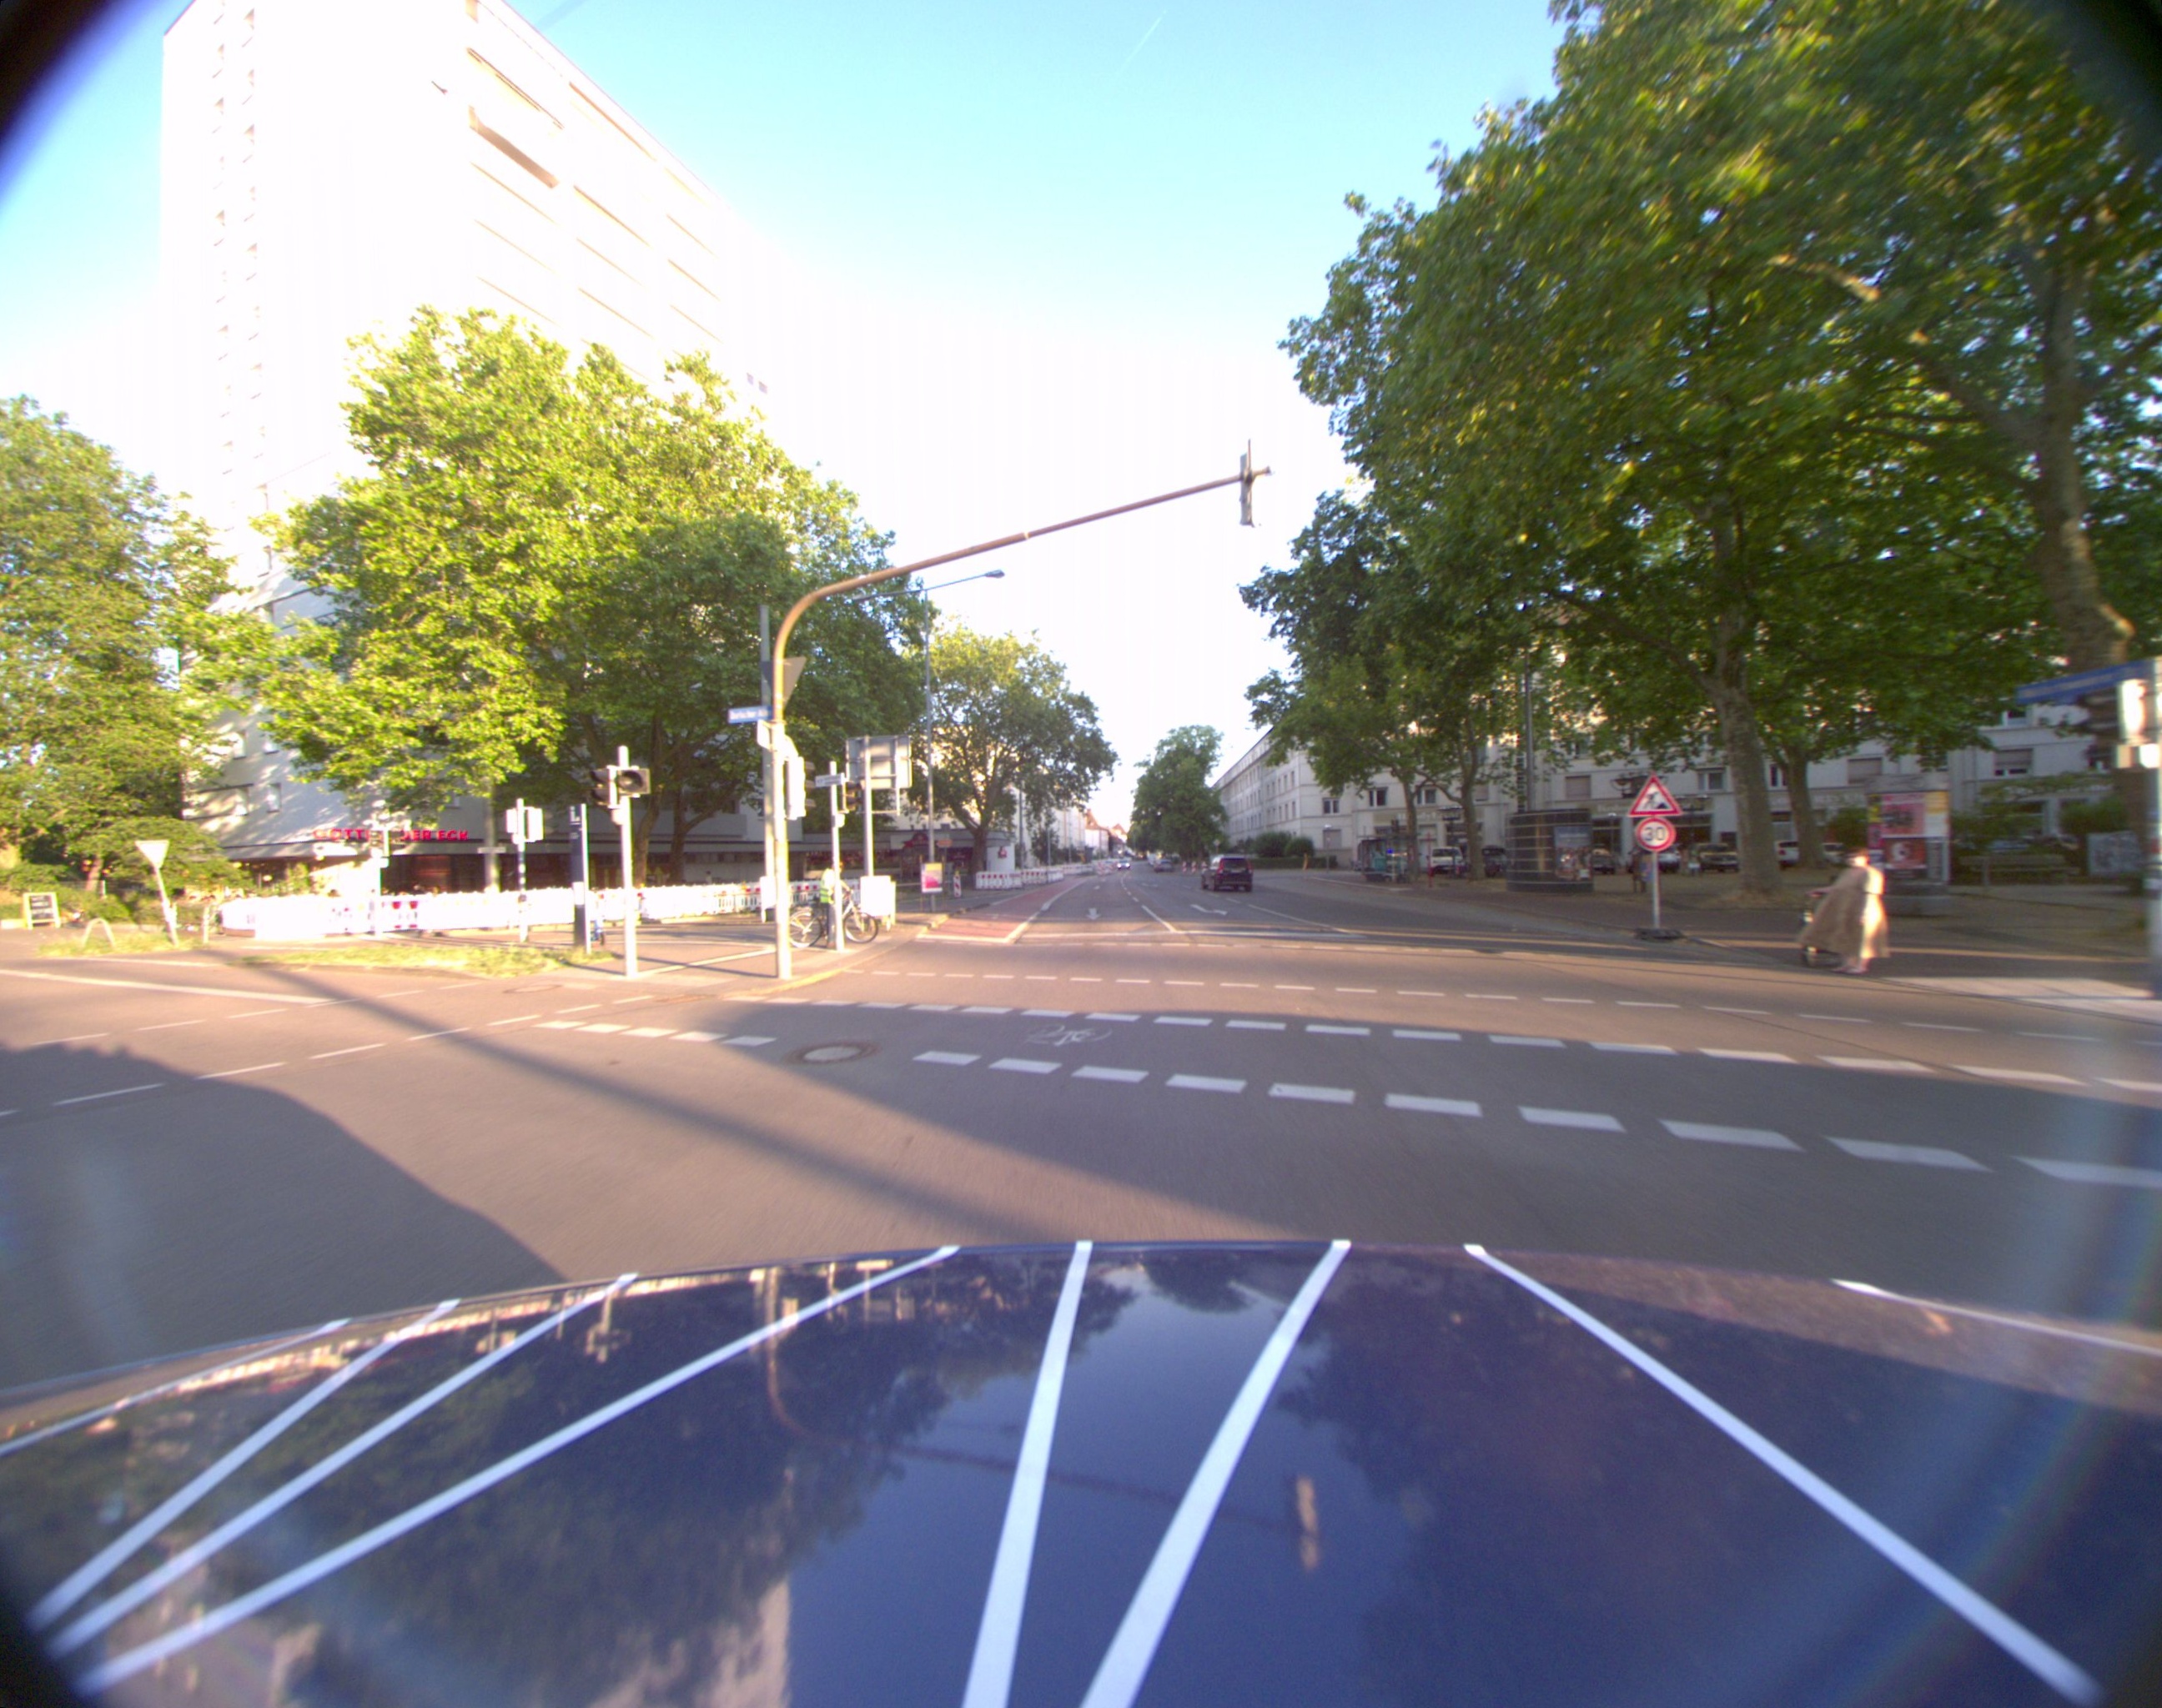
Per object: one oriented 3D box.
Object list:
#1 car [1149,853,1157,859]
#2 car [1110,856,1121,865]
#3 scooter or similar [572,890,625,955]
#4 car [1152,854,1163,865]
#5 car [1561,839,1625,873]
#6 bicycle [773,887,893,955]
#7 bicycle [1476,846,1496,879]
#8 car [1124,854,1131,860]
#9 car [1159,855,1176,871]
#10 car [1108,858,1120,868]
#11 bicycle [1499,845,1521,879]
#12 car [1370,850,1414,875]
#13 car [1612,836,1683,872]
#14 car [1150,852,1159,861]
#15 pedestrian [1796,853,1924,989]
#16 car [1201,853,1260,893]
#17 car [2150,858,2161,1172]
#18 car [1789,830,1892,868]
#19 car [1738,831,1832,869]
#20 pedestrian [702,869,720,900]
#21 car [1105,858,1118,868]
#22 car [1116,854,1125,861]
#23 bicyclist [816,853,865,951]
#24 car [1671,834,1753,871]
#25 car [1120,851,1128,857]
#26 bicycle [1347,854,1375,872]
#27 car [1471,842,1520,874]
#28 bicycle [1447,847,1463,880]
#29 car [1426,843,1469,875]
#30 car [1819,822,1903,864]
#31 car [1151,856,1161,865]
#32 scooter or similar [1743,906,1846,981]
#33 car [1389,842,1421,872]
[{"bbox_3d":[18.770,0.535,198.042,1.892,1.591,4.261,-3,1,7],"label":"car"},{"bbox_3d":[7.034,1.361,153.926,1.892,1.651,4.261,-3,1,7],"label":"car"},{"bbox_3d":[-9.795,1.367,15.416,1.231,1.242,0.516,-2,1,42],"label":"scooter or similar"},{"bbox_3d":[14.074,1.034,140.139,1.892,1.855,4.261,-3,1,7],"label":"car"},{"bbox_3d":[28.240,0.128,42.060,1.995,1.771,4.649,-1,-1,22],"label":"car"},{"bbox_3d":[-4.793,1.260,14.768,2.075,1.103,0.627,-3,1,-30],"label":"bicycle"},{"bbox_3d":[21.358,0.410,40.069,0.808,1.605,2.749,-2,1,27],"label":"bicycle"},{"bbox_3d":[14.605,0.924,237.664,1.892,1.591,4.261,-3,1,7],"label":"car"},{"bbox_3d":[9.821,0.968,86.222,1.892,1.591,4.001,-3,1,7],"label":"car"},{"bbox_3d":[6.321,1.756,145.398,1.892,1.726,4.261,-3,1,7],"label":"car"},{"bbox_3d":[22.367,0.393,39.663,0.808,1.605,2.749,-2,1,27],"label":"bicycle"},{"bbox_3d":[18.965,0.535,46.492,1.996,1.494,4.647,0,-1,16],"label":"car"},{"bbox_3d":[30.378,0.044,40.899,1.995,1.771,4.649,-1,-1,22],"label":"car"},{"bbox_3d":[16.862,0.611,174.042,1.892,1.868,4.947,-3,1,7],"label":"car"},{"bbox_3d":[9.863,0.814,9.652,0.804,1.618,0.773,-3,1,-3],"label":"pedestrian"},{"bbox_3d":[7.401,0.905,38.183,1.998,1.774,4.798,-3,0,1],"label":"car"},{"bbox_3d":[6.310,0.785,1.398,1.998,1.549,4.768,-1,0,0],"label":"car"},{"bbox_3d":[38.042,-0.179,38.221,1.995,1.771,4.649,-1,-1,22],"label":"car"},{"bbox_3d":[35.744,-0.151,38.760,1.995,1.771,4.649,-1,-1,22],"label":"car"},{"bbox_3d":[-19.424,1.596,39.946,0.641,1.579,0.745,-3,1,-16],"label":"pedestrian"},{"bbox_3d":[5.287,1.517,133.127,1.892,1.591,4.261,-3,1,7],"label":"car"},{"bbox_3d":[9.837,0.838,189.182,1.892,1.591,4.261,-3,1,7],"label":"car"},{"bbox_3d":[-4.702,0.915,14.829,0.700,1.814,0.627,-3,1,-30],"label":"bicyclist"},{"bbox_3d":[32.916,-0.031,39.820,1.995,1.771,4.649,-1,-1,22],"label":"car"},{"bbox_3d":[12.355,-0.044,216.812,1.892,1.591,4.261,-3,1,7],"label":"car"},{"bbox_3d":[20.434,0.673,55.463,1.802,1.199,0.648,-2,1,34],"label":"bicycle"},{"bbox_3d":[23.974,0.250,44.090,1.995,1.771,4.649,-1,-1,22],"label":"car"},{"bbox_3d":[19.875,0.478,40.404,0.690,1.605,2.749,-2,1,27],"label":"bicycle"},{"bbox_3d":[21.518,0.322,44.765,1.995,1.771,4.649,-1,-1,22],"label":"car"},{"bbox_3d":[47.067,-0.711,45.974,1.995,2.428,4.647,-1,2,25],"label":"car"},{"bbox_3d":[14.820,1.250,149.799,1.892,1.591,4.261,-3,1,7],"label":"car"},{"bbox_3d":[9.820,1.217,10.484,0.593,0.892,0.851,-3,1,-4],"label":"scooter or similar"},{"bbox_3d":[23.601,0.193,55.294,1.995,1.945,4.647,-1,2,25],"label":"car"}]
